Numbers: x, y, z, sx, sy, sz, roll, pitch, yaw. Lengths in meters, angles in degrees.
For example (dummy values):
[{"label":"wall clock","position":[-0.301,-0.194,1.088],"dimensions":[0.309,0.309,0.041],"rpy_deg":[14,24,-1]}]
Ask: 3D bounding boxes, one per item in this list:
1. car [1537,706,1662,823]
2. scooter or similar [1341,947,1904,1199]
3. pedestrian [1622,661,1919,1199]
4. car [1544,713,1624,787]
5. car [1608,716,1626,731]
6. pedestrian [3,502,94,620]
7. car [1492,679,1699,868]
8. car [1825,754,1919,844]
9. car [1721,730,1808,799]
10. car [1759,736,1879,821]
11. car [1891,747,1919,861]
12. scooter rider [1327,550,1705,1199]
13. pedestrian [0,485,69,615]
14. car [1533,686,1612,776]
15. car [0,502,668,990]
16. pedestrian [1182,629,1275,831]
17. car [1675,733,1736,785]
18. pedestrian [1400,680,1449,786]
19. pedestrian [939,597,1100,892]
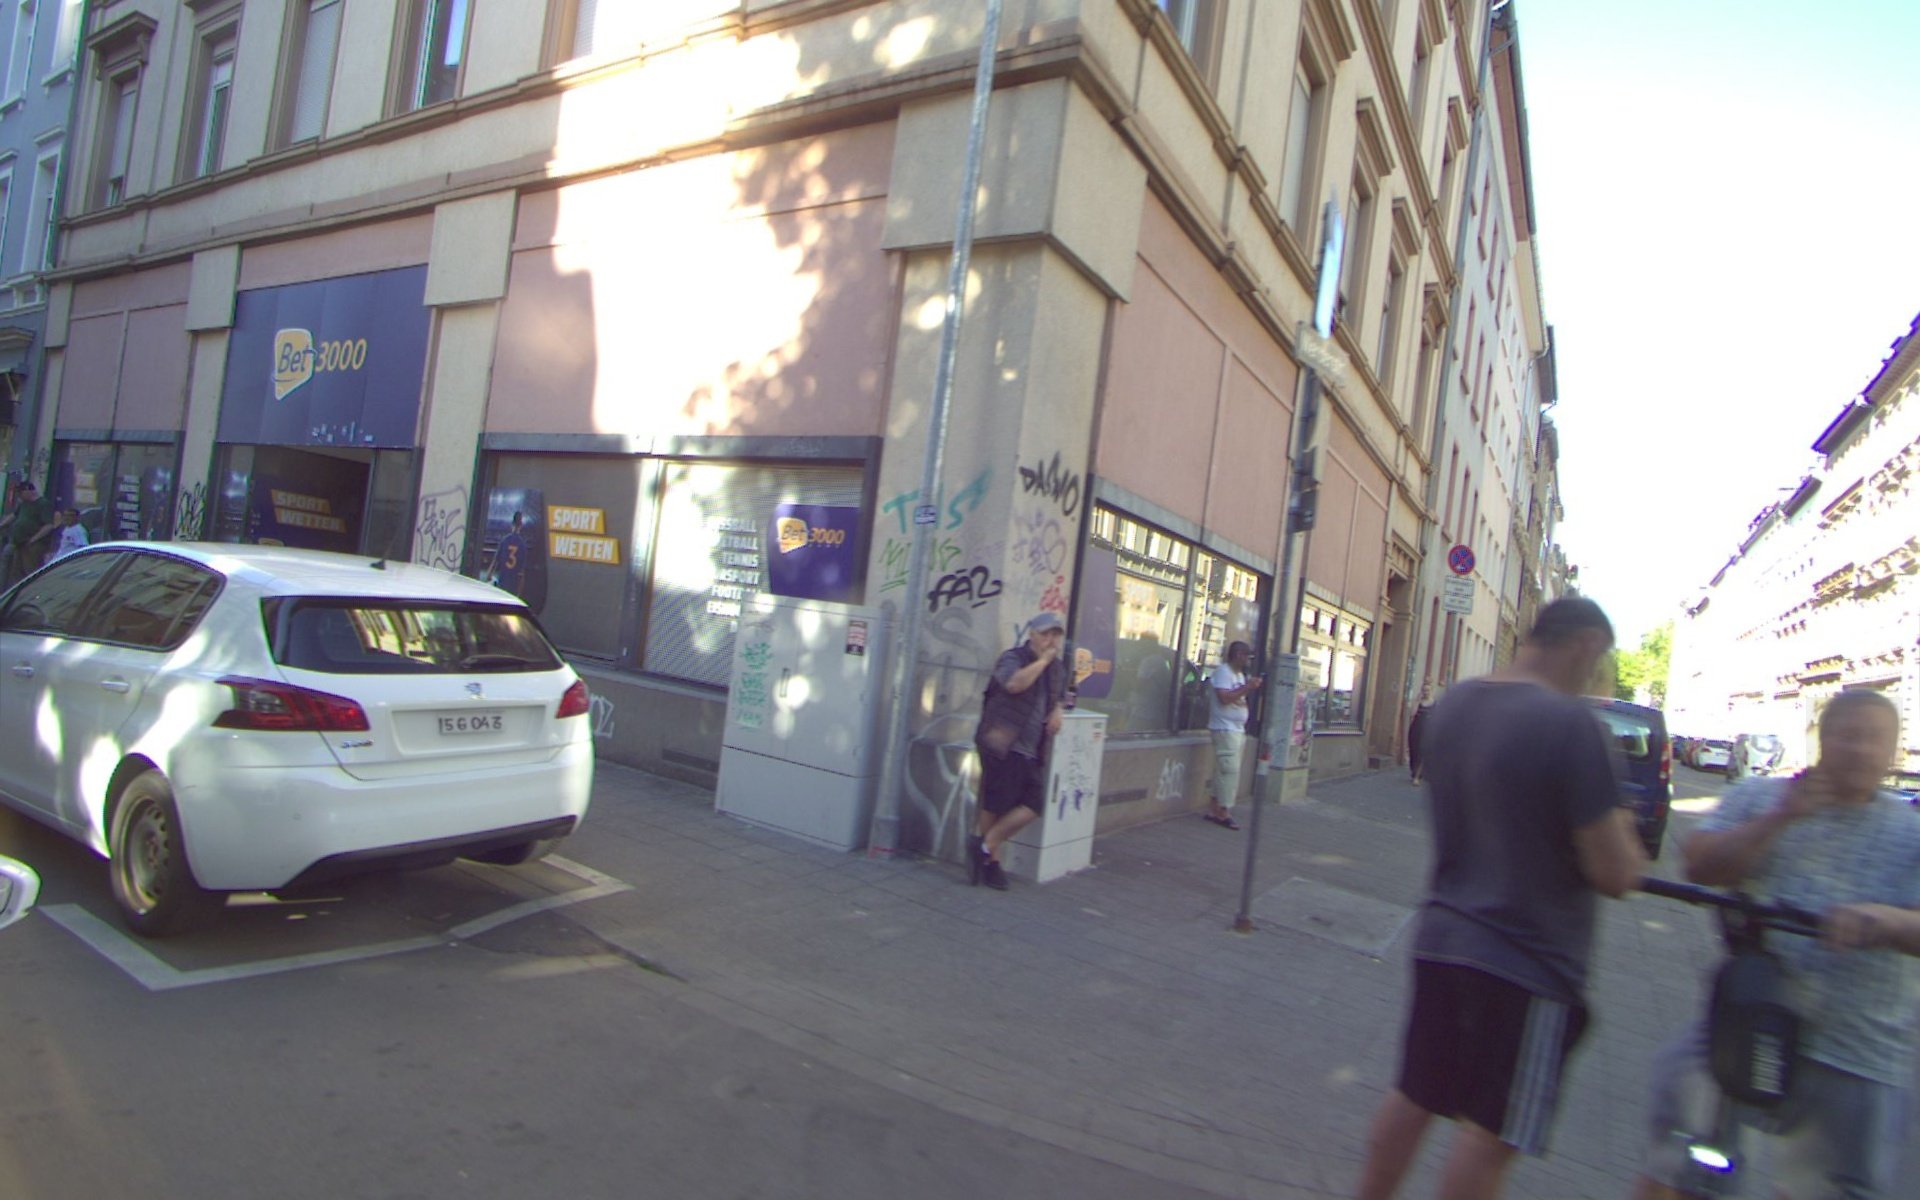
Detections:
[{"label":"car","position":[11.303,2.822,17.841],"dimensions":[1.561,1.630,3.936],"rpy_deg":[6,-3,32]},{"label":"scooter or similar","position":[1.356,1.331,2.195],"dimensions":[0.911,0.837,0.394],"rpy_deg":[5,-3,33]},{"label":"pedestrian","position":[2.013,1.004,2.291],"dimensions":[0.520,1.656,0.564],"rpy_deg":[8,-2,-13]},{"label":"car","position":[16.511,3.916,26.623],"dimensions":[1.561,1.624,3.580],"rpy_deg":[6,-3,32]},{"label":"car","position":[97.005,18.281,148.627],"dimensions":[1.967,1.935,3.996],"rpy_deg":[6,-4,32]},{"label":"pedestrian","position":[-12.893,-0.542,14.237],"dimensions":[0.647,1.546,0.589],"rpy_deg":[6,-3,27]},{"label":"car","position":[8.527,2.217,13.604],"dimensions":[1.837,1.862,3.932],"rpy_deg":[9,-1,33]},{"label":"car","position":[19.117,4.023,20.188],"dimensions":[1.967,1.542,3.637],"rpy_deg":[6,-4,32]},{"label":"car","position":[28.525,5.786,35.779],"dimensions":[1.703,2.054,4.196],"rpy_deg":[6,-4,32]},{"label":"car","position":[23.220,4.768,27.336],"dimensions":[1.703,1.892,3.941],"rpy_deg":[6,-4,32]},{"label":"car","position":[15.534,3.225,15.039],"dimensions":[1.534,1.737,3.984],"rpy_deg":[6,-3,32]},{"label":"scooter rider","position":[1.248,0.840,2.332],"dimensions":[0.556,1.798,0.611],"rpy_deg":[6,-3,30]},{"label":"pedestrian","position":[-13.559,-0.721,14.513],"dimensions":[0.646,1.760,0.631],"rpy_deg":[6,-2,20]},{"label":"car","position":[19.059,4.035,31.288],"dimensions":[1.807,2.407,3.421],"rpy_deg":[6,-2,33]},{"label":"car","position":[-3.691,0.451,5.115],"dimensions":[4.067,1.532,1.792],"rpy_deg":[6,-3,31]},{"label":"pedestrian","position":[2.497,1.193,9.323],"dimensions":[0.467,1.745,0.692],"rpy_deg":[6,-3,32]},{"label":"car","position":[34.485,7.322,46.638],"dimensions":[1.703,2.054,4.196],"rpy_deg":[6,-4,32]},{"label":"pedestrian","position":[7.780,2.208,16.827],"dimensions":[0.457,1.675,0.843],"rpy_deg":[6,-1,34]},{"label":"pedestrian","position":[0.350,0.866,6.078],"dimensions":[0.594,1.670,0.461],"rpy_deg":[8,1,-26]}]
